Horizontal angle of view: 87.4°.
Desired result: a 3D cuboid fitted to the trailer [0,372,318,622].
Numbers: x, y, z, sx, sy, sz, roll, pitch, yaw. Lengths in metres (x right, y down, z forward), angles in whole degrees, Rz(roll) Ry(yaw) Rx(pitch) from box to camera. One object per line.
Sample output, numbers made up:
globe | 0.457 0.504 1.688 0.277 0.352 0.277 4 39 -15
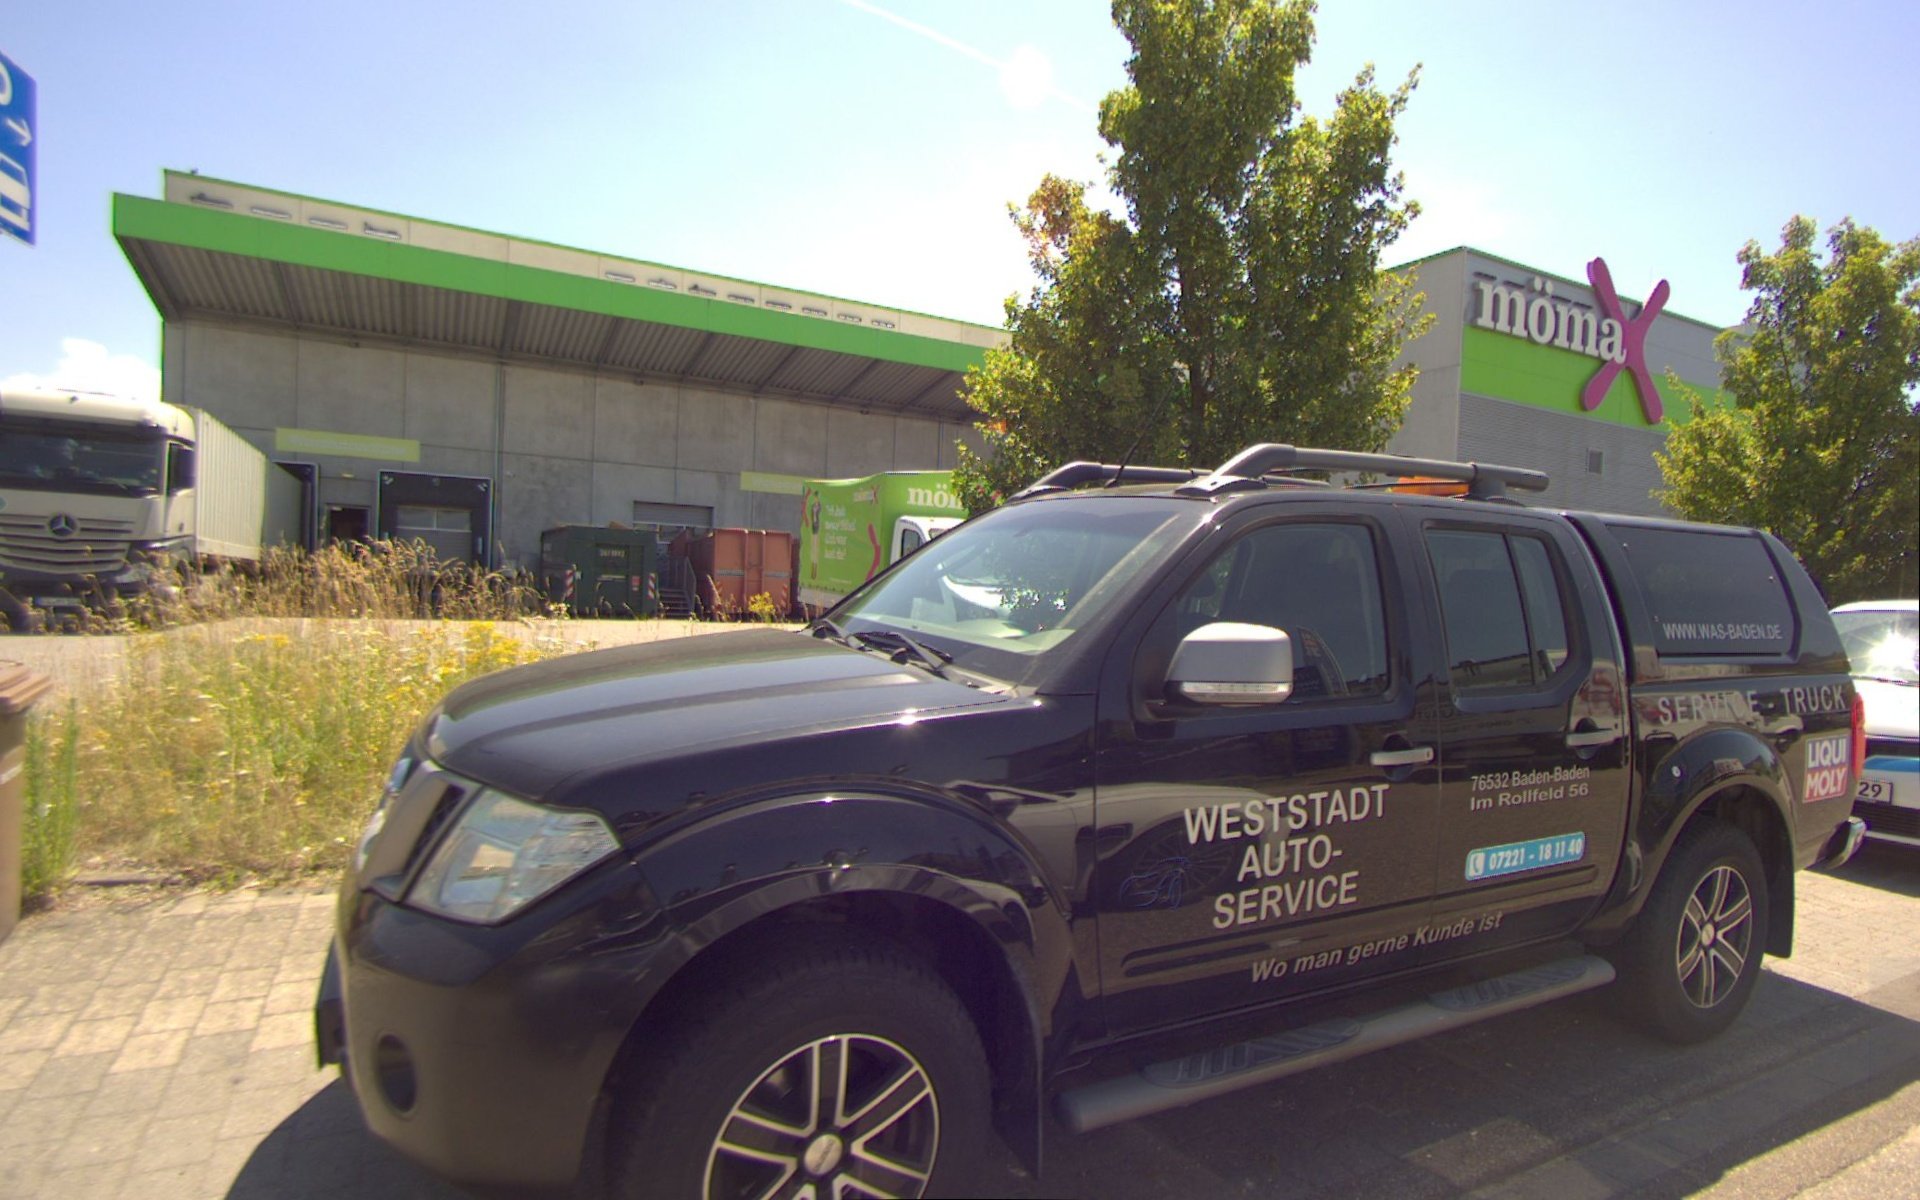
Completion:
trailer | -18.365 -1.839 24.373 3.178 4.142 15.260 2 0 -27

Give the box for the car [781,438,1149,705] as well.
car | -0.303 -0.391 14.006 2.490 2.862 5.947 2 2 -29

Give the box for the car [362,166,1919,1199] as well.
car | 1.064 0.404 3.539 5.336 1.926 1.965 2 2 -29

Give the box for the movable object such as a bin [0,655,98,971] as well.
movable object such as a bin | -3.368 0.687 3.322 0.675 0.963 0.545 2 2 -30

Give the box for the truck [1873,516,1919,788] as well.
truck | 10.288 0.531 8.871 4.590 2.252 1.843 2 2 -30

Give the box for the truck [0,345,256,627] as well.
truck | -15.065 -1.742 17.961 3.179 4.142 6.081 2 0 -28

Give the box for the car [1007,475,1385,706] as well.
car | 3.408 -0.209 16.119 2.490 2.965 5.947 2 2 -29

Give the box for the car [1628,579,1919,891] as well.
car | 6.376 0.750 6.574 3.723 1.572 1.842 2 2 -31
